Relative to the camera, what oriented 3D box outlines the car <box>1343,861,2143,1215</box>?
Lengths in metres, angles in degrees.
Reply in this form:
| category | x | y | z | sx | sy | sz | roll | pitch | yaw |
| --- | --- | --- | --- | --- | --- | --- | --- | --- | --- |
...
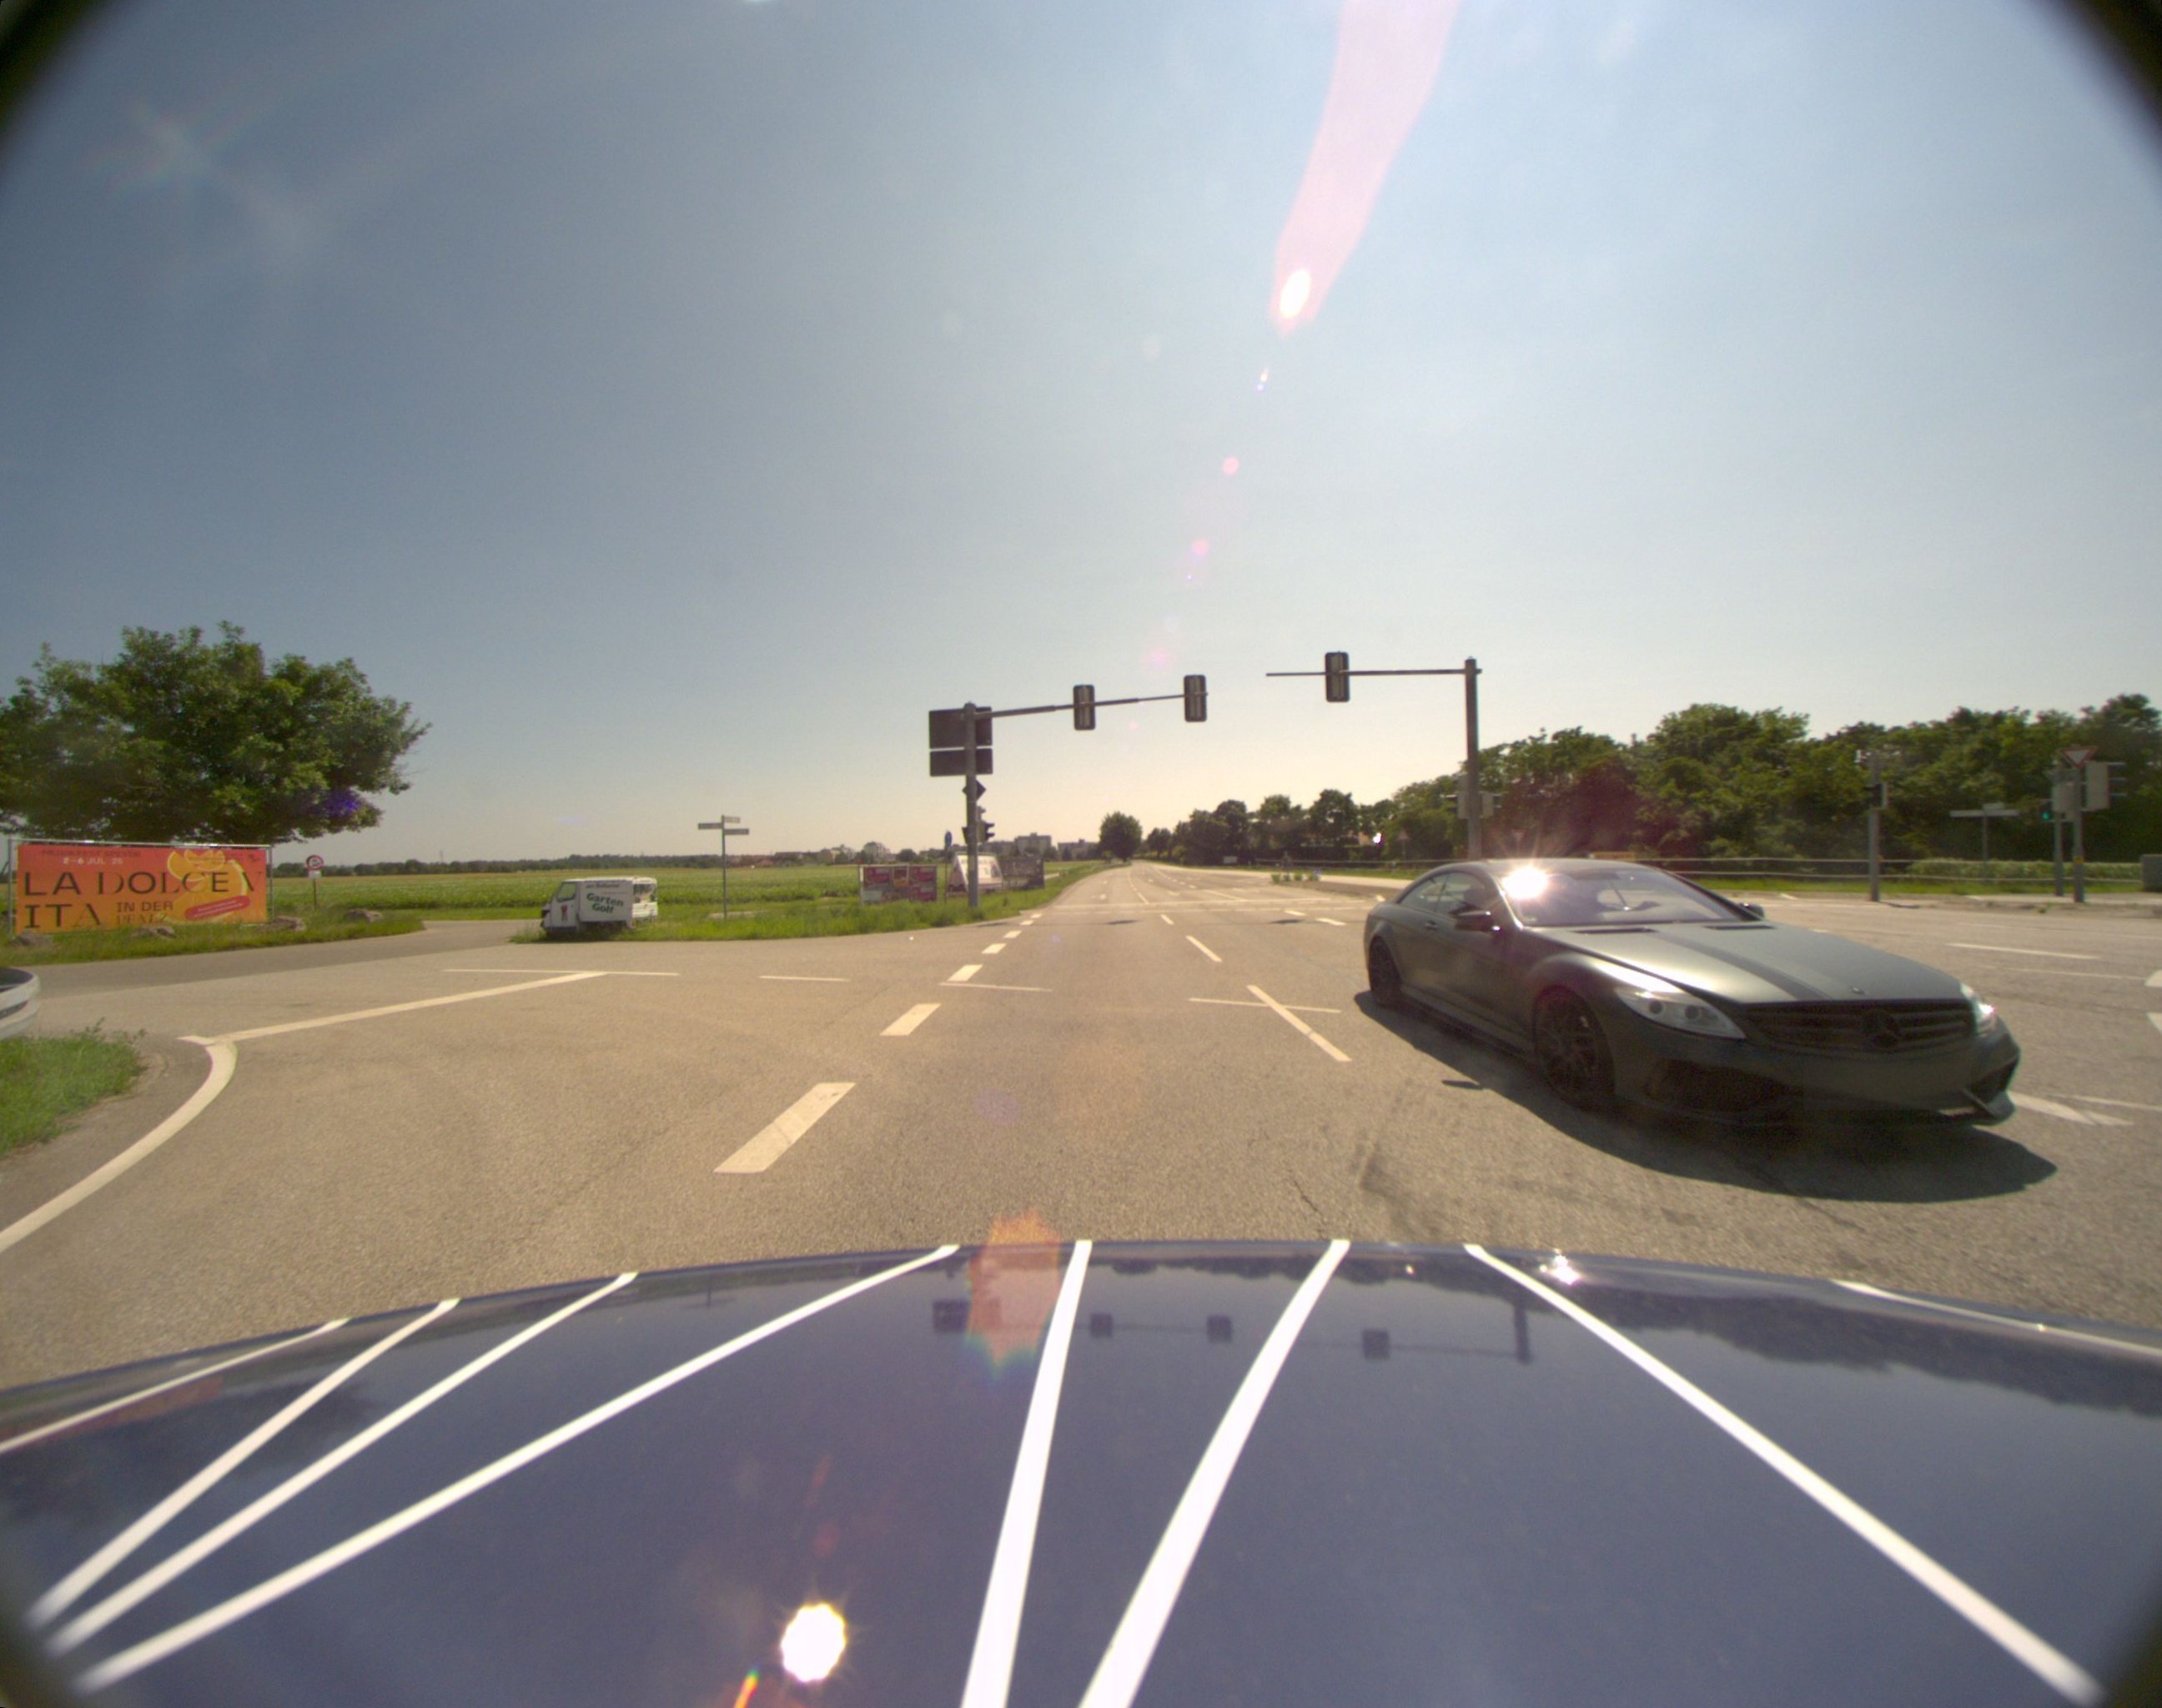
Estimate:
| category | x | y | z | sx | sy | sz | roll | pitch | yaw |
| --- | --- | --- | --- | --- | --- | --- | --- | --- | --- |
| car | 3.705 | 0.821 | 5.729 | 1.815 | 1.441 | 4.877 | -2 | 0 | 1 |

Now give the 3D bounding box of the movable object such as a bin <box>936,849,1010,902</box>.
| category | x | y | z | sx | sy | sz | roll | pitch | yaw |
| --- | --- | --- | --- | --- | --- | --- | --- | --- | --- |
| movable object such as a bin | -5.264 | 1.002 | 37.608 | 1.523 | 2.349 | 4.430 | -3 | 1 | 21 |

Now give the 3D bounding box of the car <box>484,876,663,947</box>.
| category | x | y | z | sx | sy | sz | roll | pitch | yaw |
| --- | --- | --- | --- | --- | --- | --- | --- | --- | --- |
| car | -12.381 | 1.379 | 18.698 | 3.345 | 1.491 | 1.400 | -2 | 1 | -4 |
